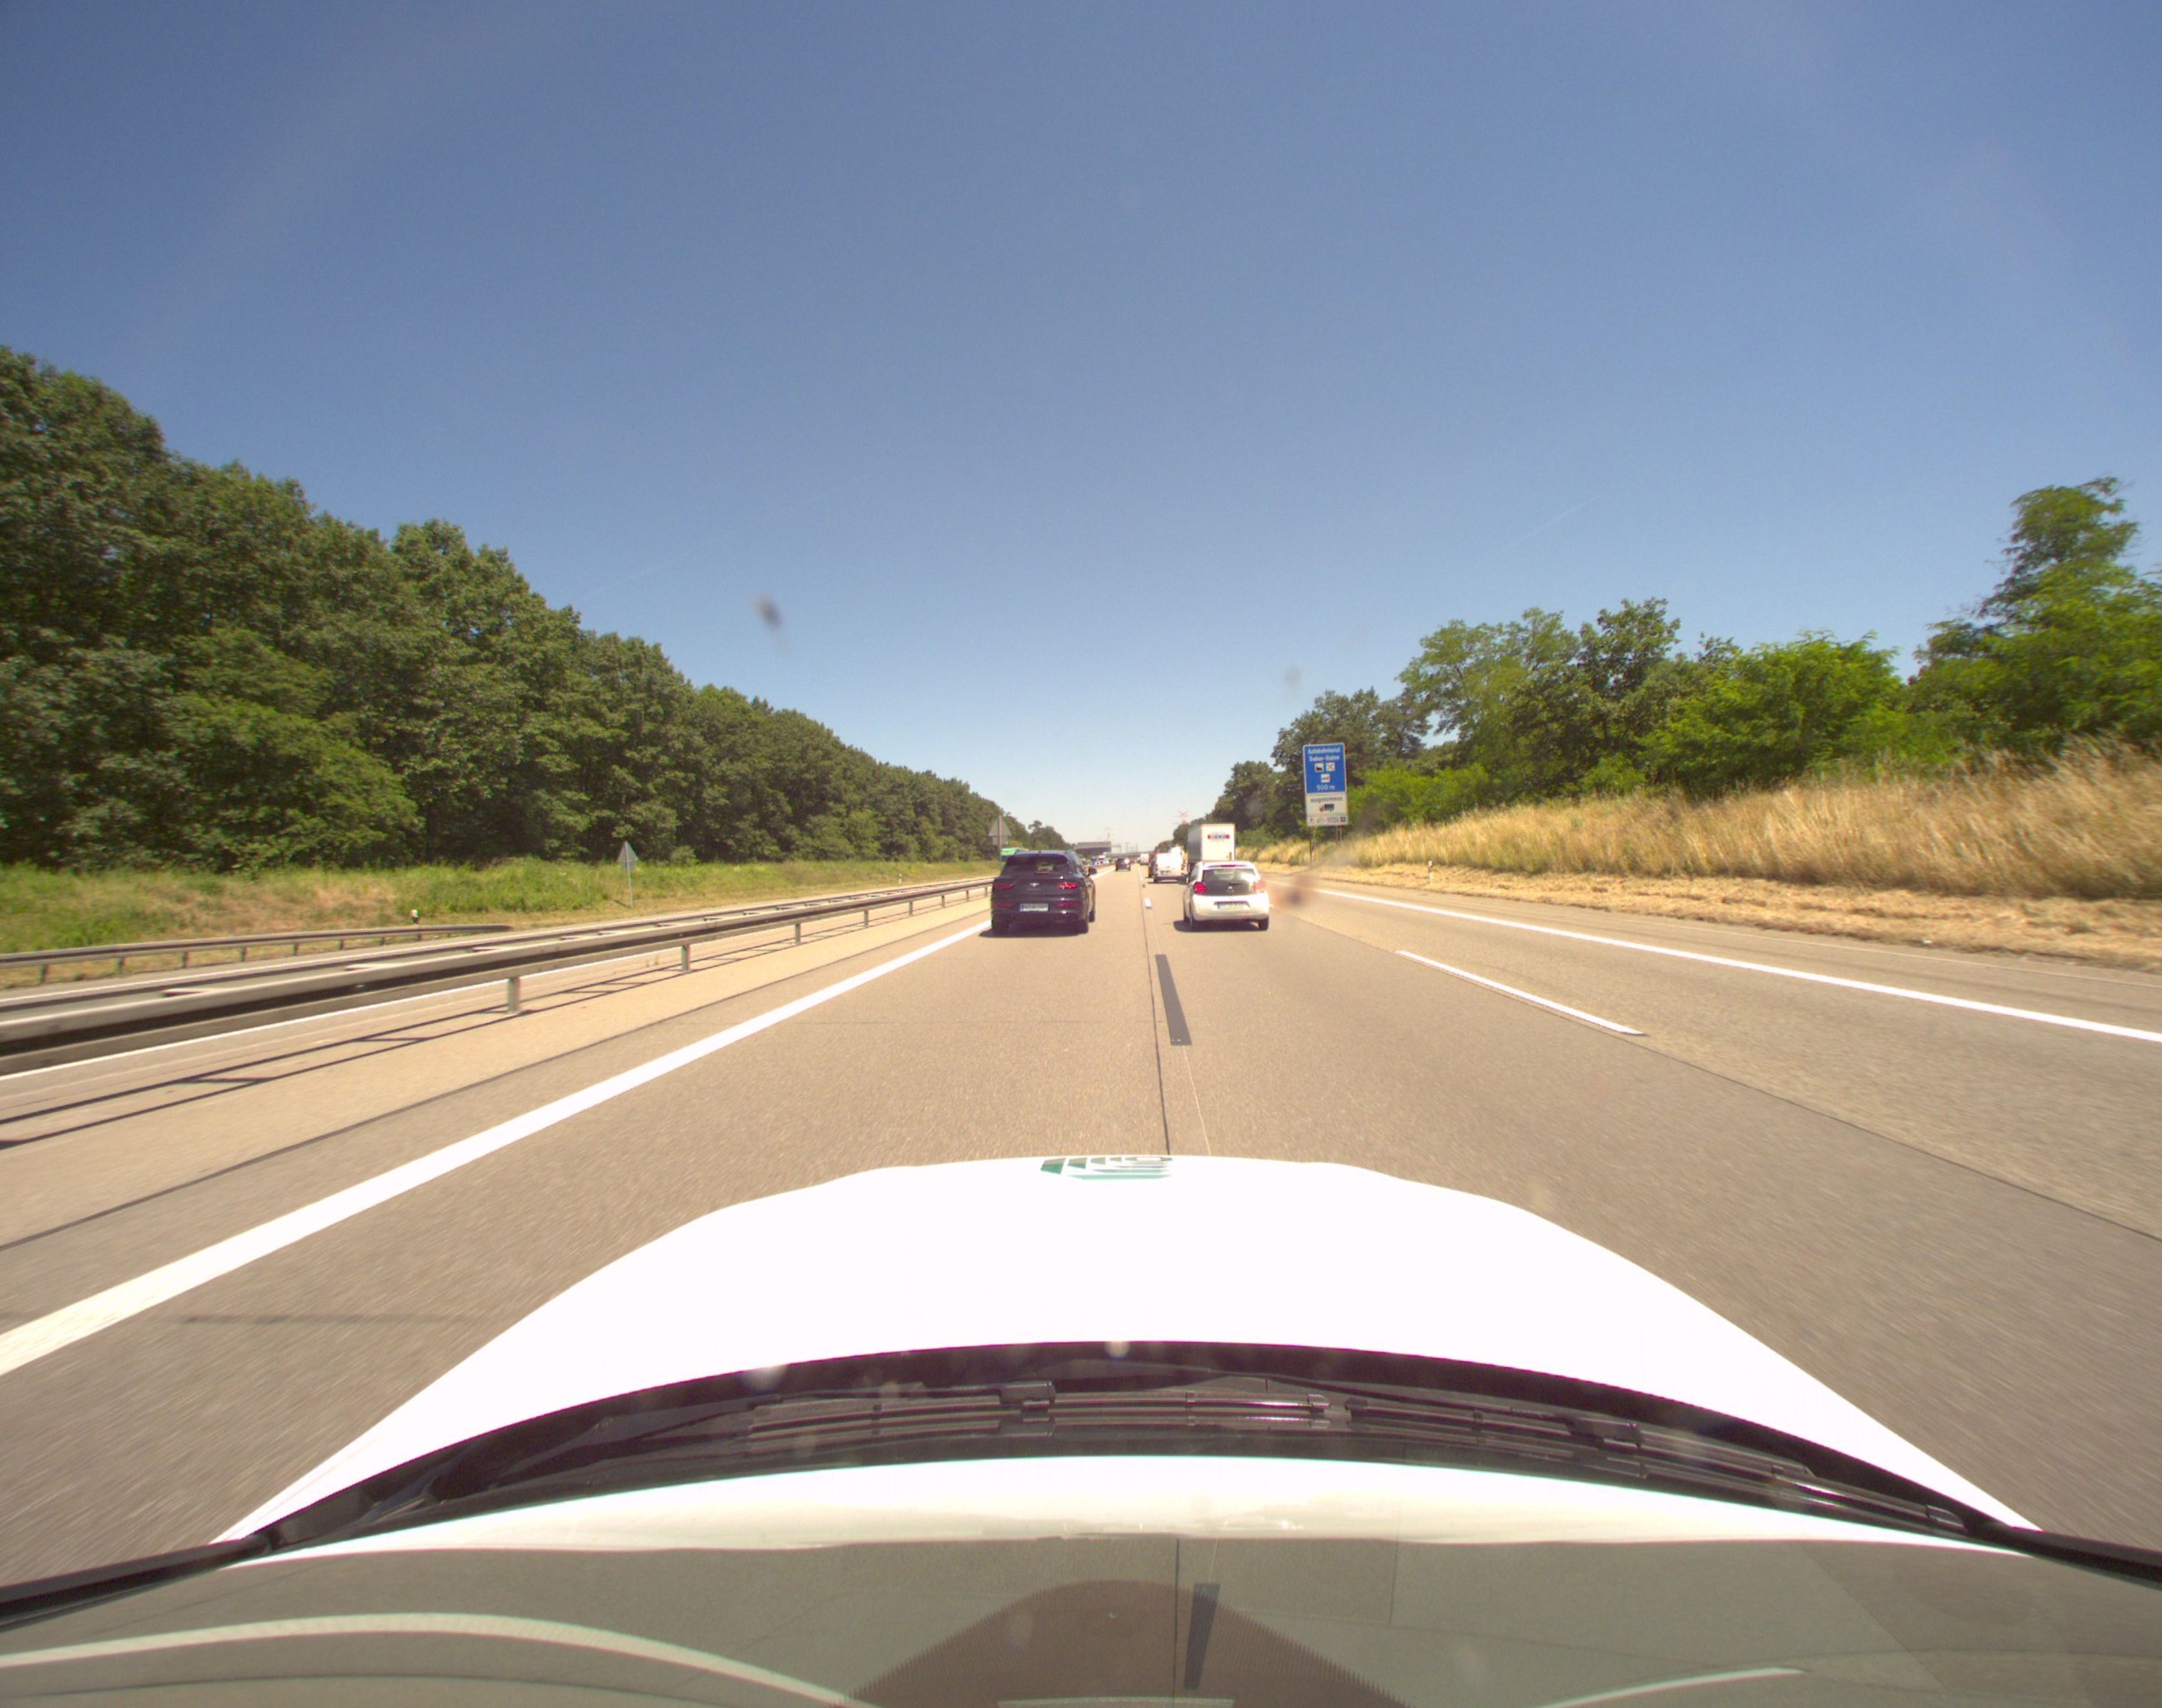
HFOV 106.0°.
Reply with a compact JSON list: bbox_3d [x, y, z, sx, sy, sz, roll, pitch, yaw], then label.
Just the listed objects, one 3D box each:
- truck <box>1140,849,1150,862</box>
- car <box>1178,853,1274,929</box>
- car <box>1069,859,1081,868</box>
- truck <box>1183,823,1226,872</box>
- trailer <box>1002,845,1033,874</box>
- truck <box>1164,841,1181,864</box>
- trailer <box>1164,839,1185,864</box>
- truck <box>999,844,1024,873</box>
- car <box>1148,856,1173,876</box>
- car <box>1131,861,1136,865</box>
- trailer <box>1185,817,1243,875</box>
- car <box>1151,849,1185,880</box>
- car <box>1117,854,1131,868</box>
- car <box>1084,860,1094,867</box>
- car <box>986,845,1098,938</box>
[{"bbox_3d":[14.567,0.337,186.412,2.051,2.914,7.009,-2,-1,3],"label":"truck"},{"bbox_3d":[3.149,0.745,18.368,1.701,1.495,4.028,-1,0,4],"label":"car"},{"bbox_3d":[-1.095,1.650,141.078,1.648,1.500,4.604,-5,-1,4],"label":"car"},{"bbox_3d":[10.973,-0.522,72.813,3.272,4.219,6.013,-1,-1,3],"label":"truck"},{"bbox_3d":[-10.215,0.869,132.890,2.693,4.161,14.352,-5,-1,4],"label":"trailer"},{"bbox_3d":[15.379,-0.231,137.300,2.671,3.837,4.448,-1,-1,3],"label":"truck"},{"bbox_3d":[15.034,-0.276,131.580,2.671,3.837,12.020,-1,-1,3],"label":"trailer"},{"bbox_3d":[-10.695,0.678,125.625,2.689,4.161,6.302,-5,-1,4],"label":"truck"},{"bbox_3d":[6.289,0.914,64.780,1.767,1.472,3.876,-2,-1,3],"label":"car"},{"bbox_3d":[15.112,2.561,234.800,1.600,1.300,3.678,-1,0,4],"label":"car"},{"bbox_3d":[10.556,-0.538,66.271,3.272,4.219,13.577,-1,-1,3],"label":"trailer"},{"bbox_3d":[5.391,0.637,50.912,1.806,1.827,5.115,-2,-1,3],"label":"car"},{"bbox_3d":[5.536,0.875,104.248,1.619,1.755,3.808,-1,0,4],"label":"car"},{"bbox_3d":[1.781,2.099,179.109,1.701,1.410,5.088,-5,-1,4],"label":"car"},{"bbox_3d":[-0.690,0.704,18.594,1.932,1.752,5.818,-1,0,3],"label":"car"}]
